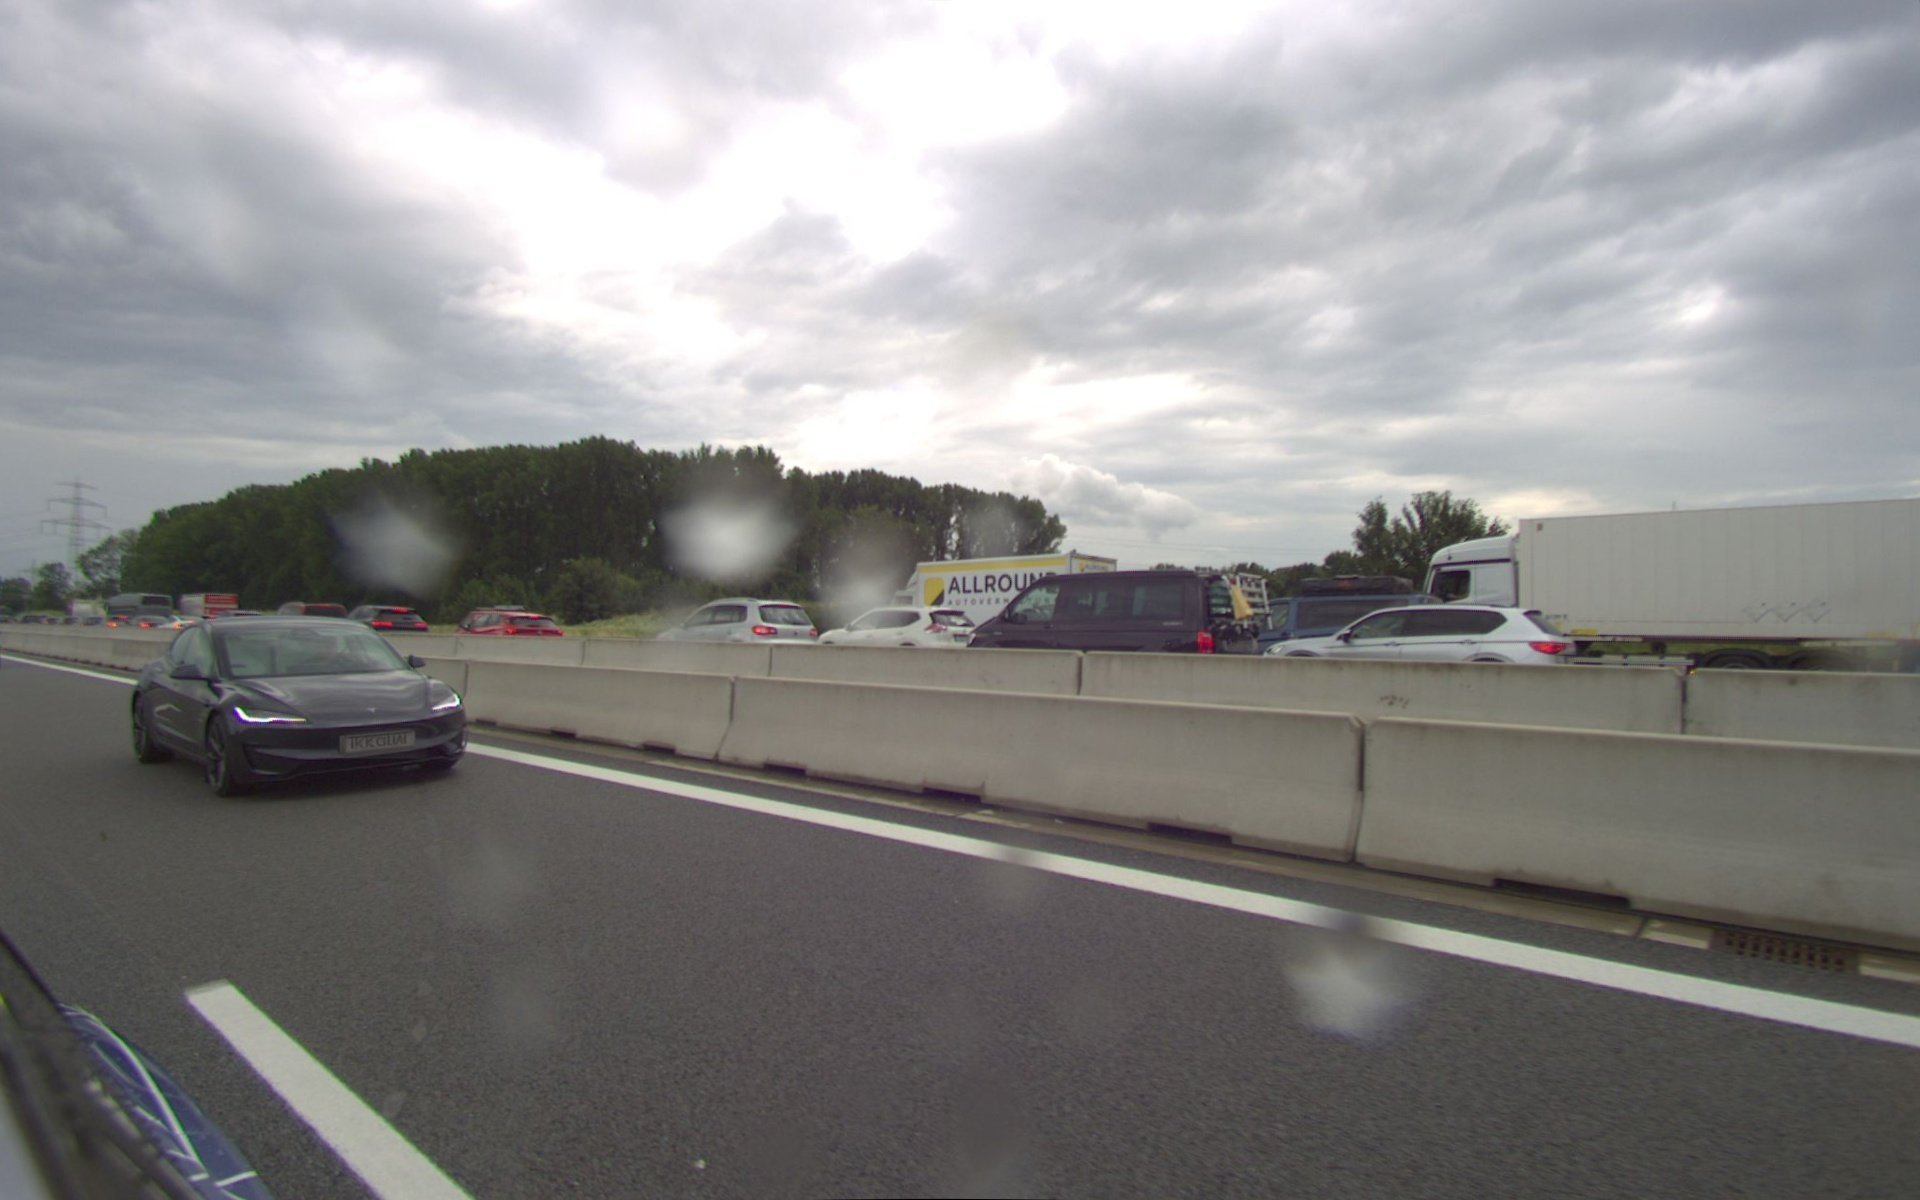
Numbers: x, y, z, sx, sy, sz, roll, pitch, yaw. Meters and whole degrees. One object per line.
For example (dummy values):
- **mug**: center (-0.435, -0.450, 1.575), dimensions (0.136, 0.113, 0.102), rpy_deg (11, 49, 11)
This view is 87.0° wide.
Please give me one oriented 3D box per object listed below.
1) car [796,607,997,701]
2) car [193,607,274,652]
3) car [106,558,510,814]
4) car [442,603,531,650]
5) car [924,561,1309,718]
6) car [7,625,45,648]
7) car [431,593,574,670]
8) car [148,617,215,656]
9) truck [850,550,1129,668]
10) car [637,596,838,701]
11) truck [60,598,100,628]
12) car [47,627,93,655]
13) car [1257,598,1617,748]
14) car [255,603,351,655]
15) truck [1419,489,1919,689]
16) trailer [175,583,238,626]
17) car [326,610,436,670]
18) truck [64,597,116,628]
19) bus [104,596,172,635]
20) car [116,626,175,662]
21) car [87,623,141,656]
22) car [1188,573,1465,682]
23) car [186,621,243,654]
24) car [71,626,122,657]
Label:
- **car**: center (-1.596, 1.212, 24.227), dimensions (4.811, 2.029, 1.973), rpy_deg (-1, -1, 41)
- **car**: center (-34.819, 1.377, 48.446), dimensions (5.415, 2.029, 1.973), rpy_deg (-1, -1, 41)
- **car**: center (-6.473, 0.660, 9.741), dimensions (5.161, 1.834, 1.972), rpy_deg (-1, -1, 42)
- **car**: center (-21.840, 1.214, 46.606), dimensions (4.684, 2.029, 1.973), rpy_deg (-1, -1, 41)
- **car**: center (2.213, 0.559, 15.736), dimensions (5.754, 2.029, 1.973), rpy_deg (-1, -1, 41)
- **car**: center (-82.387, 3.177, 89.223), dimensions (4.693, 1.982, 1.973), rpy_deg (-1, -1, 41)
- **car**: center (-13.164, 0.865, 28.998), dimensions (4.684, 2.029, 1.973), rpy_deg (-1, -1, 41)
- **car**: center (-42.779, 1.978, 55.599), dimensions (4.969, 2.029, 1.973), rpy_deg (-1, -1, 41)
- **truck**: center (0.687, 0.326, 32.388), dimensions (9.197, 3.315, 2.879), rpy_deg (-1, -1, 41)
- **car**: center (-4.850, 0.980, 21.751), dimensions (4.423, 2.029, 1.973), rpy_deg (-1, -1, 41)
- **truck**: center (-115.368, 1.709, 132.637), dimensions (6.315, 3.740, 3.118), rpy_deg (-1, -1, 41)
- **car**: center (-65.964, 2.990, 74.958), dimensions (4.693, 1.982, 1.973), rpy_deg (-1, -1, 41)
- **car**: center (7.438, 1.032, 16.097), dimensions (4.811, 2.029, 1.973), rpy_deg (-1, -1, 41)
- **car**: center (-27.658, 1.197, 42.532), dimensions (5.415, 2.029, 1.973), rpy_deg (-1, -1, 41)
- **truck**: center (15.783, -0.147, 21.852), dimensions (10.309, 3.640, 2.847), rpy_deg (-1, -1, 42)
- **trailer**: center (-70.412, 0.518, 94.480), dimensions (9.155, 3.791, 2.830), rpy_deg (-1, -2, 41)
- **car**: center (-19.986, 1.337, 34.873), dimensions (4.501, 1.918, 1.973), rpy_deg (-1, -1, 41)
- **truck**: center (-110.511, 1.580, 128.463), dimensions (13.290, 3.774, 3.116), rpy_deg (-1, -1, 41)
- **bus**: center (-77.256, 1.493, 94.962), dimensions (13.990, 3.411, 2.659), rpy_deg (-1, -1, 41)
- **car**: center (-48.214, 2.580, 59.861), dimensions (4.347, 2.029, 1.973), rpy_deg (-1, -1, 41)
- **car**: center (-54.731, 2.502, 65.464), dimensions (4.693, 2.029, 1.973), rpy_deg (-1, -1, 41)
- **car**: center (7.581, 0.552, 21.288), dimensions (5.096, 2.029, 1.972), rpy_deg (-1, -1, 42)
- **car**: center (-48.757, 2.398, 66.134), dimensions (4.969, 2.029, 1.973), rpy_deg (-1, -1, 41)
- **car**: center (-59.173, 2.795, 69.336), dimensions (4.693, 1.982, 1.973), rpy_deg (-1, -1, 41)
